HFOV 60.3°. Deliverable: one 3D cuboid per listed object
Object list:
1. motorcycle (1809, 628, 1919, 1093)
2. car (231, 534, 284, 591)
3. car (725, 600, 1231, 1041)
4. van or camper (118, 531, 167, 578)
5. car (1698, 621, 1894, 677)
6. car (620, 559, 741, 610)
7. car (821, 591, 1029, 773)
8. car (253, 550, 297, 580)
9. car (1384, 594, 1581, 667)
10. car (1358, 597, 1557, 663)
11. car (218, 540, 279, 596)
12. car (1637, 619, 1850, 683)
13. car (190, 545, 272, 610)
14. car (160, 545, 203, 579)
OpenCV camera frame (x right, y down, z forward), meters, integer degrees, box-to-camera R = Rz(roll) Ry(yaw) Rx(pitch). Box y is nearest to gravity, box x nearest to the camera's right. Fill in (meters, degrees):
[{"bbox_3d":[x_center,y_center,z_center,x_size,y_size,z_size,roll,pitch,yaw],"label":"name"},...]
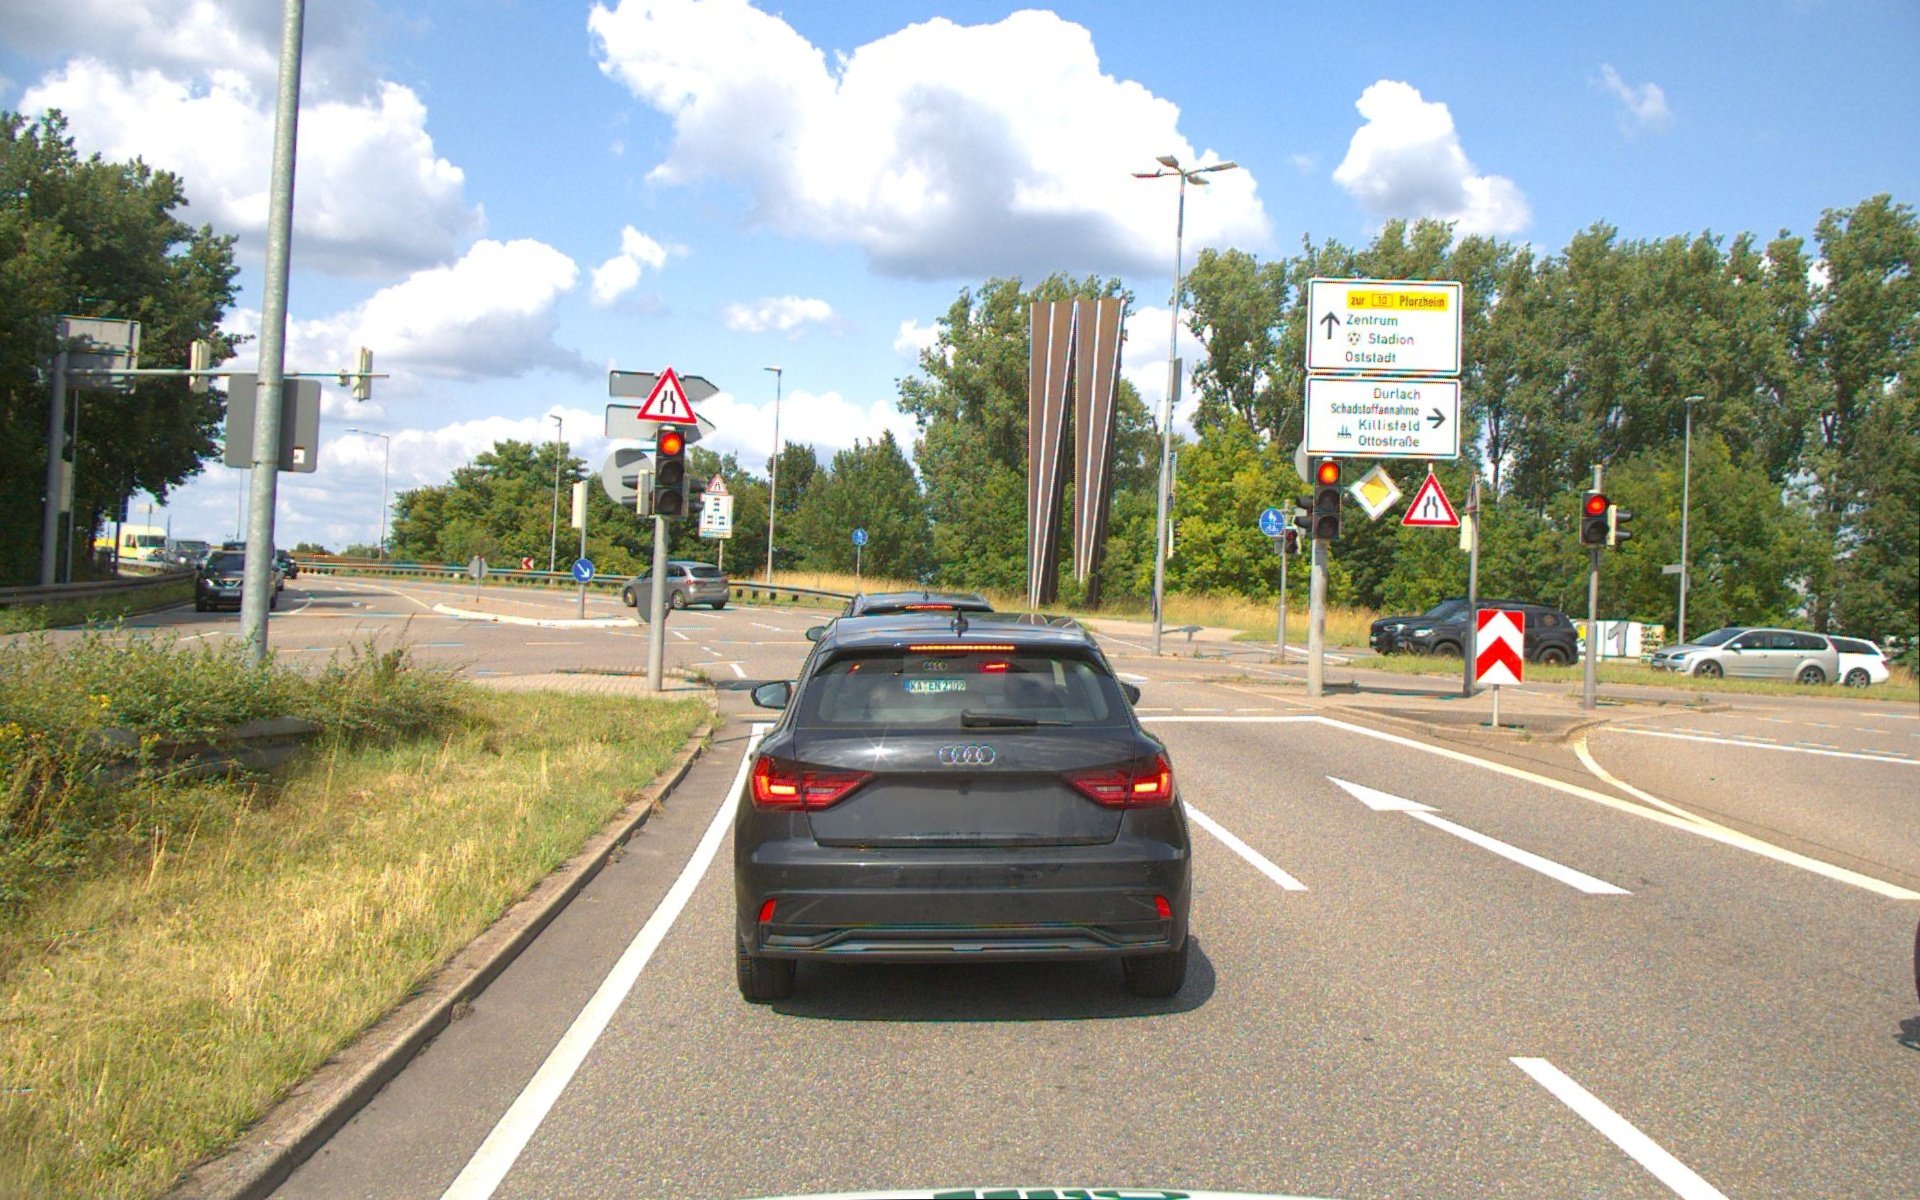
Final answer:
[{"bbox_3d":[3.424,0.822,4.528,0.918,1.407,2.369,2,0,-1],"label":"motorcycle"},{"bbox_3d":[-28.226,-1.485,66.391,1.819,2.137,4.293,2,0,-24],"label":"car"},{"bbox_3d":[0.032,0.734,7.524,1.691,1.429,3.999,0,1,-1],"label":"car"},{"bbox_3d":[-50.302,-2.773,101.702,1.974,2.730,6.788,2,0,-32],"label":"van or camper"},{"bbox_3d":[22.385,1.300,44.365,4.404,1.304,1.736,2,0,-4],"label":"car"},{"bbox_3d":[-9.334,-0.522,55.048,4.051,1.522,1.986,2,0,45],"label":"car"},{"bbox_3d":[-0.441,0.649,15.317,1.692,1.448,3.841,0,1,-5],"label":"car"},{"bbox_3d":[-36.800,-1.903,88.791,1.712,1.522,4.007,2,0,-29],"label":"car"},{"bbox_3d":[12.600,0.721,40.059,4.182,1.572,1.736,2,0,-2],"label":"car"},{"bbox_3d":[13.165,0.779,43.920,4.750,1.572,1.736,2,0,-2],"label":"car"},{"bbox_3d":[-25.380,-1.138,59.090,1.817,1.833,4.299,2,0,-22],"label":"car"},{"bbox_3d":[19.061,1.227,40.336,4.384,1.343,1.735,2,0,-4],"label":"car"},{"bbox_3d":[-19.890,-0.564,45.247,1.813,1.646,3.974,2,-1,-21],"label":"car"},{"bbox_3d":[-42.146,-2.077,89.489,1.823,1.735,4.286,2,0,-29],"label":"car"}]
